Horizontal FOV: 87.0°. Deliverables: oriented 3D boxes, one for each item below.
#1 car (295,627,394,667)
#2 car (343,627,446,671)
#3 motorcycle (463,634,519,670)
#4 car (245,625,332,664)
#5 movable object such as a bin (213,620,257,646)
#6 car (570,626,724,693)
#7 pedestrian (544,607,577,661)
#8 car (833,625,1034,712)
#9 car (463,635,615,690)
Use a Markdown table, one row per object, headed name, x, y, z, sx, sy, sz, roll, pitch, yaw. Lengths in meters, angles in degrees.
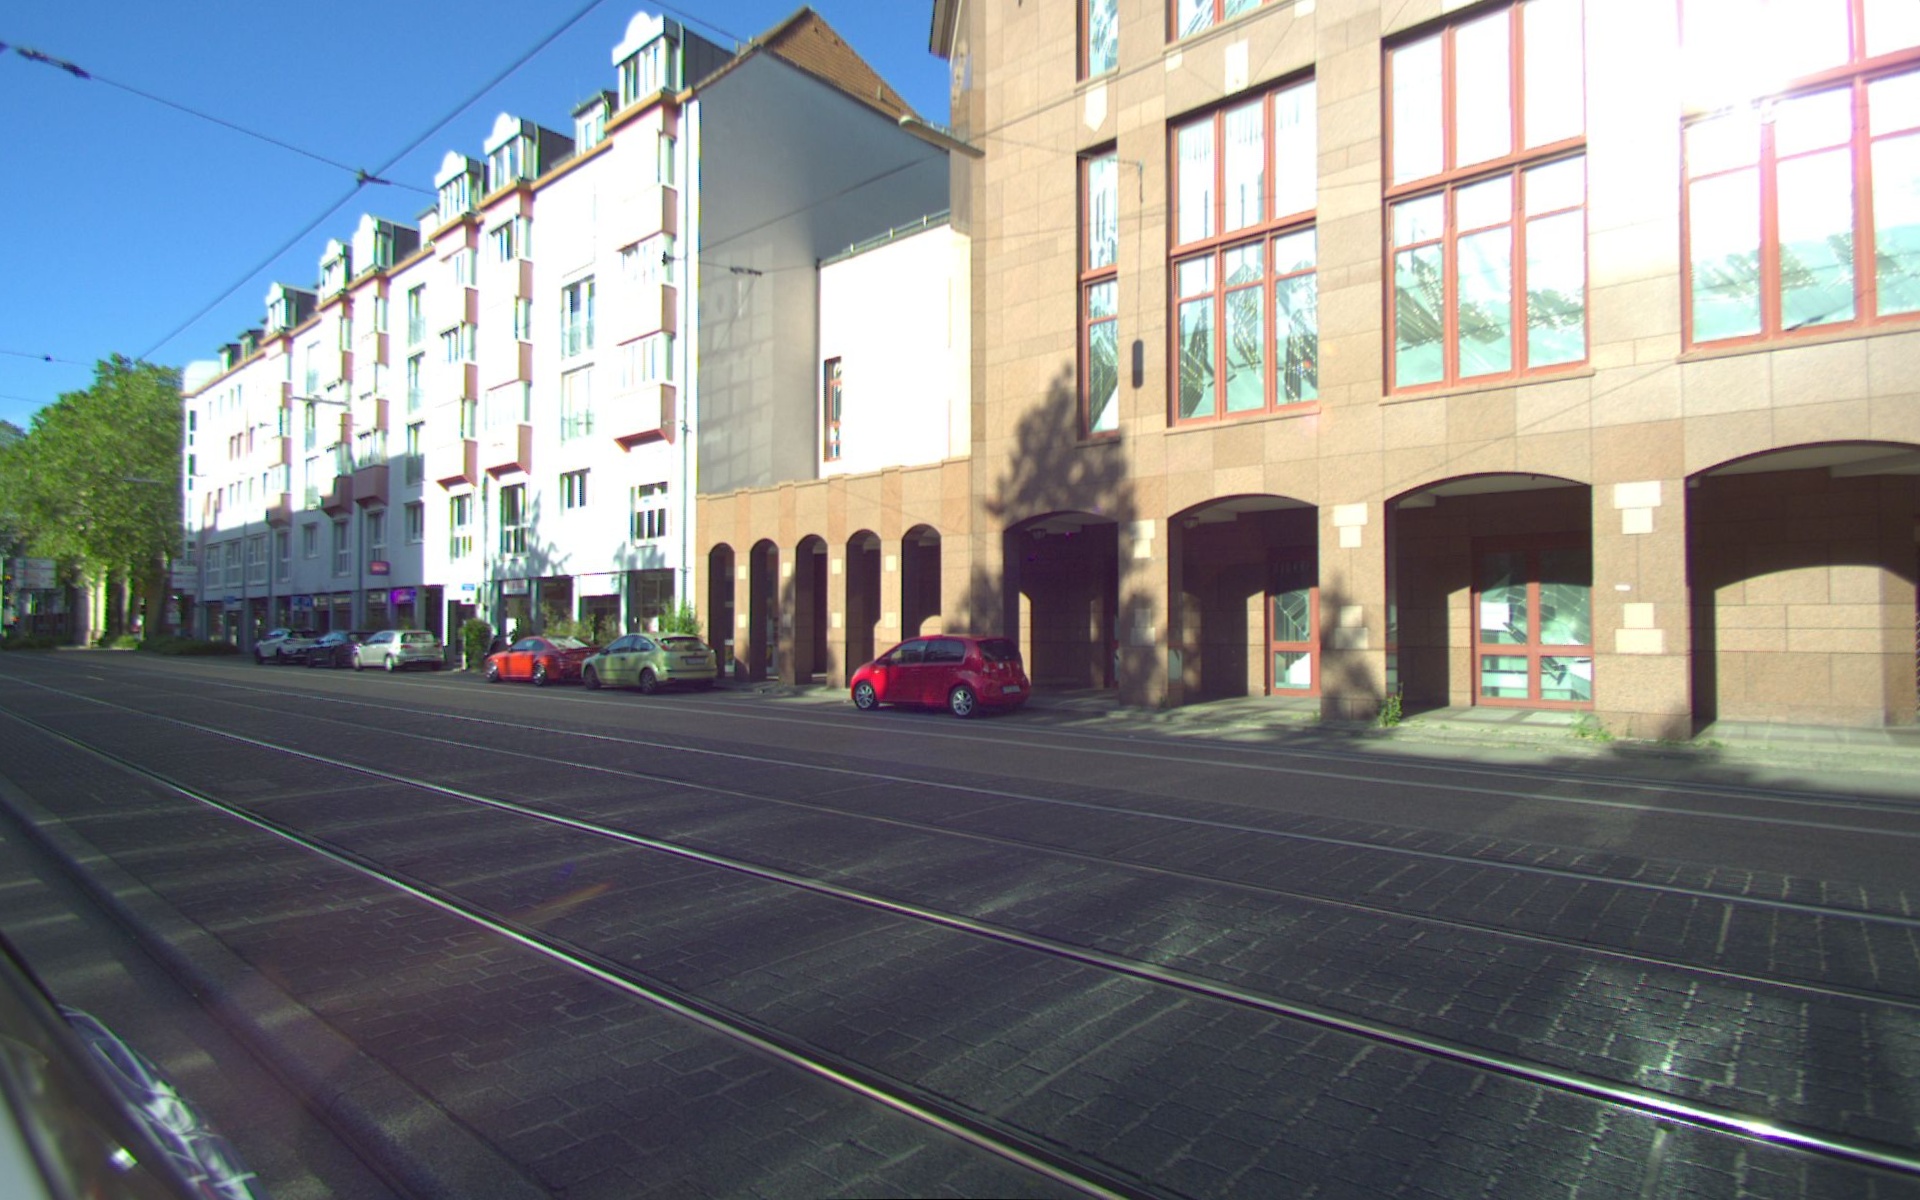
| name | x | y | z | sx | sy | sz | roll | pitch | yaw |
| --- | --- | --- | --- | --- | --- | --- | --- | --- | --- |
| car | -24.061 | 1.796 | 39.517 | 4.822 | 1.469 | 1.882 | -2 | -2 | 40 |
| car | -20.247 | 1.715 | 36.162 | 4.202 | 1.486 | 1.734 | -2 | -2 | 38 |
| motorcycle | -16.015 | 1.770 | 34.541 | 2.068 | 1.203 | 0.458 | -2 | -1 | 23 |
| car | -29.373 | 1.905 | 44.230 | 4.364 | 1.626 | 1.899 | -2 | -2 | 38 |
| movable object such as a bin | -56.751 | 2.575 | 79.293 | 2.604 | 2.029 | 1.179 | 0 | -2 | -26 |
| car | -7.884 | 1.430 | 25.263 | 4.288 | 1.479 | 1.652 | -2 | -1 | 41 |
| pedestrian | -13.931 | 1.180 | 35.277 | 0.715 | 1.857 | 0.813 | -2 | -2 | 31 |
| car | -0.554 | 1.212 | 18.994 | 3.618 | 1.432 | 1.642 | -2 | -1 | 41 |
| car | -11.860 | 1.684 | 28.377 | 4.817 | 1.335 | 1.940 | -2 | -1 | 40 |
